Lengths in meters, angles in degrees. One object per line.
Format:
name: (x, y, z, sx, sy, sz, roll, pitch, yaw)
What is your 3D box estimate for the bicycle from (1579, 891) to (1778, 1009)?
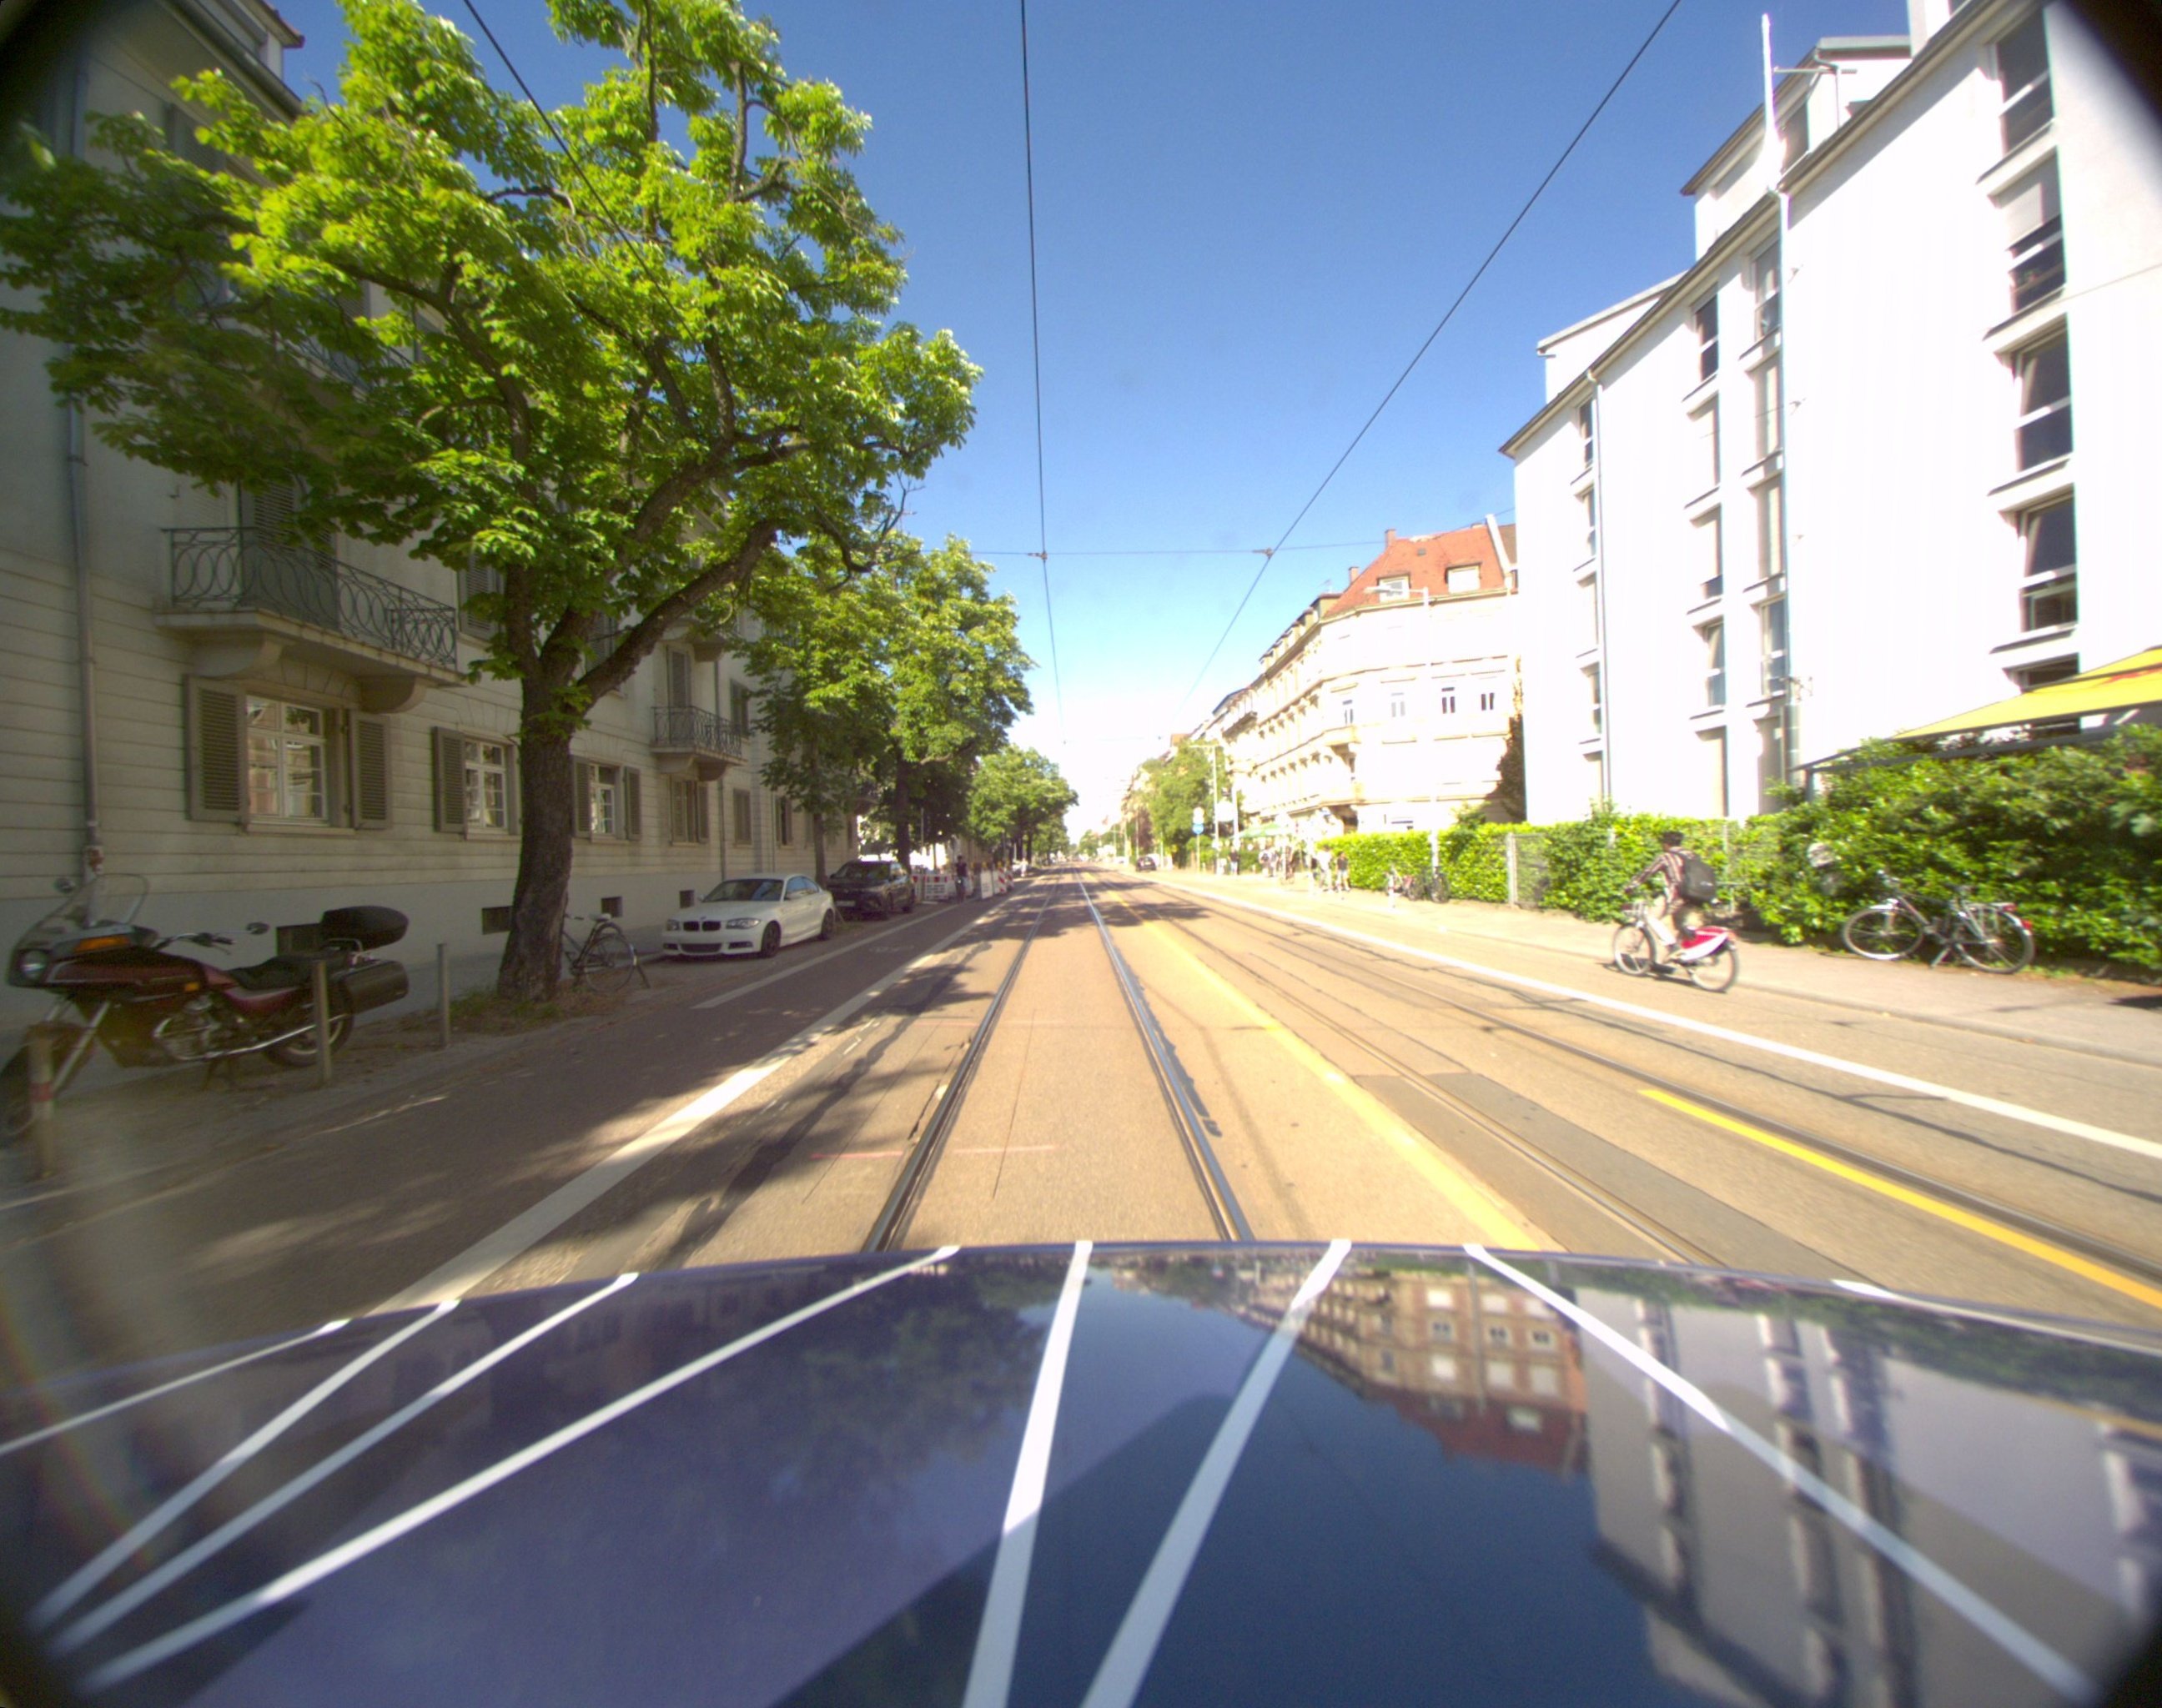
bicycle: (6.668, 1.015, 8.636, 0.747, 1.075, 1.899, 1, 0, 1)

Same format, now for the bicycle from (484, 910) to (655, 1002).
bicycle: (-6.253, 1.232, 9.345, 1.623, 1.037, 0.685, 0, 0, 0)

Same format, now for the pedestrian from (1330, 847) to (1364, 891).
pedestrian: (9.249, 0.506, 26.462, 0.756, 1.469, 0.956, -3, 0, 0)

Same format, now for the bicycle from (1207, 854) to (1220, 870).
bicycle: (9.152, 0.551, 52.488, 0.515, 1.032, 2.223, -2, 0, 0)

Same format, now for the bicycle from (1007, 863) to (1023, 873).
bicycle: (-6.527, 1.395, 75.423, 1.570, 0.974, 0.640, 0, 0, -9)

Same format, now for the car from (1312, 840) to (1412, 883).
car: (12.489, 0.321, 33.897, 4.045, 1.797, 1.794, -1, 2, 20)

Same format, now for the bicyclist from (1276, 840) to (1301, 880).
bicyclist: (9.895, 0.265, 36.235, 0.705, 1.843, 0.987, 0, 2, 43)

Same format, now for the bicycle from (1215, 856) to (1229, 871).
bicycle: (9.045, 0.602, 48.721, 0.528, 0.975, 1.777, -2, 0, 0)

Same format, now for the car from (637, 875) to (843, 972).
car: (-5.898, 1.120, 13.800, 1.728, 1.374, 4.356, 0, 0, 1)

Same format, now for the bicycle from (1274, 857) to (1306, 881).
bicycle: (9.993, 0.710, 36.347, 0.705, 1.049, 1.839, 0, 2, 43)

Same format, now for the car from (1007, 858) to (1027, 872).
car: (-6.765, 1.152, 80.733, 1.705, 1.463, 4.213, -1, 0, 0)

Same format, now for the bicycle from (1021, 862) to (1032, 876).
bicycle: (-4.507, 1.253, 62.802, 0.776, 1.080, 2.058, -2, 0, -3)

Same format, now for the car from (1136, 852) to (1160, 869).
car: (6.501, 0.626, 74.412, 1.869, 1.567, 4.588, 0, 0, -1)

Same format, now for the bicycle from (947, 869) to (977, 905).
bicycle: (-4.424, 1.215, 28.342, 0.763, 1.235, 2.096, -3, 0, -1)

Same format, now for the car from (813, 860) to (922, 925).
car: (-5.922, 0.993, 21.653, 1.815, 1.616, 4.583, 1, 0, 0)

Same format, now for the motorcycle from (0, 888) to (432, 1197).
motorcycle: (-6.073, 1.041, 5.206, 0.916, 1.480, 2.679, 0, 0, 1)

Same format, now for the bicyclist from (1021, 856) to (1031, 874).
bicyclist: (-4.516, 0.894, 62.804, 0.776, 1.505, 1.229, -2, 0, -3)

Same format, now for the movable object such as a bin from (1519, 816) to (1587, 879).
movable object such as a bin: (11.359, -0.151, 18.326, 0.809, 1.448, 1.258, -1, 0, -2)

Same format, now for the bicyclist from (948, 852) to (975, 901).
bicyclist: (-4.443, 0.827, 28.333, 0.763, 1.728, 1.046, -3, 0, -1)

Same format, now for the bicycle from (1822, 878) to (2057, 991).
bicycle: (9.566, 0.841, 8.582, 0.640, 1.053, 1.743, -4, 0, 0)

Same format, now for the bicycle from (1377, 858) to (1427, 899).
bicycle: (9.528, 0.705, 22.615, 0.663, 1.083, 1.840, -4, 1, 0)

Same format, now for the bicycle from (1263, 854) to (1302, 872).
bicycle: (12.401, 0.535, 46.882, 2.244, 1.038, 0.876, -2, 2, 9)

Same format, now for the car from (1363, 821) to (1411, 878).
car: (16.173, -0.302, 40.347, 1.889, 2.825, 4.788, -1, 2, 16)

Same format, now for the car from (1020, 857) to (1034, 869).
car: (-7.021, 1.180, 99.232, 1.824, 1.475, 4.748, 0, 0, -3)

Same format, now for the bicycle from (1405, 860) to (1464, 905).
bicycle: (9.562, 0.737, 20.615, 0.663, 1.083, 1.840, -4, 1, 0)

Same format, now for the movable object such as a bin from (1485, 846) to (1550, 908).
movable object such as a bin: (10.497, 0.535, 18.313, 0.809, 1.448, 1.258, -1, 0, -2)

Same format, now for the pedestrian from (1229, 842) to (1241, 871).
pedestrian: (9.531, 0.171, 47.144, 0.558, 1.771, 0.538, -2, 1, -4)

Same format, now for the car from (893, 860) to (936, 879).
car: (-14.937, 1.400, 68.153, 3.431, 1.530, 1.724, -2, 3, 27)

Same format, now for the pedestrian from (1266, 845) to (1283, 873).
pedestrian: (11.386, 0.292, 44.736, 0.705, 1.645, 0.834, 0, 2, 31)

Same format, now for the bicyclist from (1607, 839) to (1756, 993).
bicyclist: (6.677, 0.650, 8.519, 0.747, 1.590, 1.118, 1, 1, 1)

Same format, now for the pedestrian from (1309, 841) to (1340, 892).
pedestrian: (8.486, 0.439, 26.509, 0.756, 1.704, 0.808, -3, 0, 0)

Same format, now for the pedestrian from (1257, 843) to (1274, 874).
pedestrian: (10.468, 0.251, 43.074, 0.692, 1.758, 0.868, -1, 1, 27)
